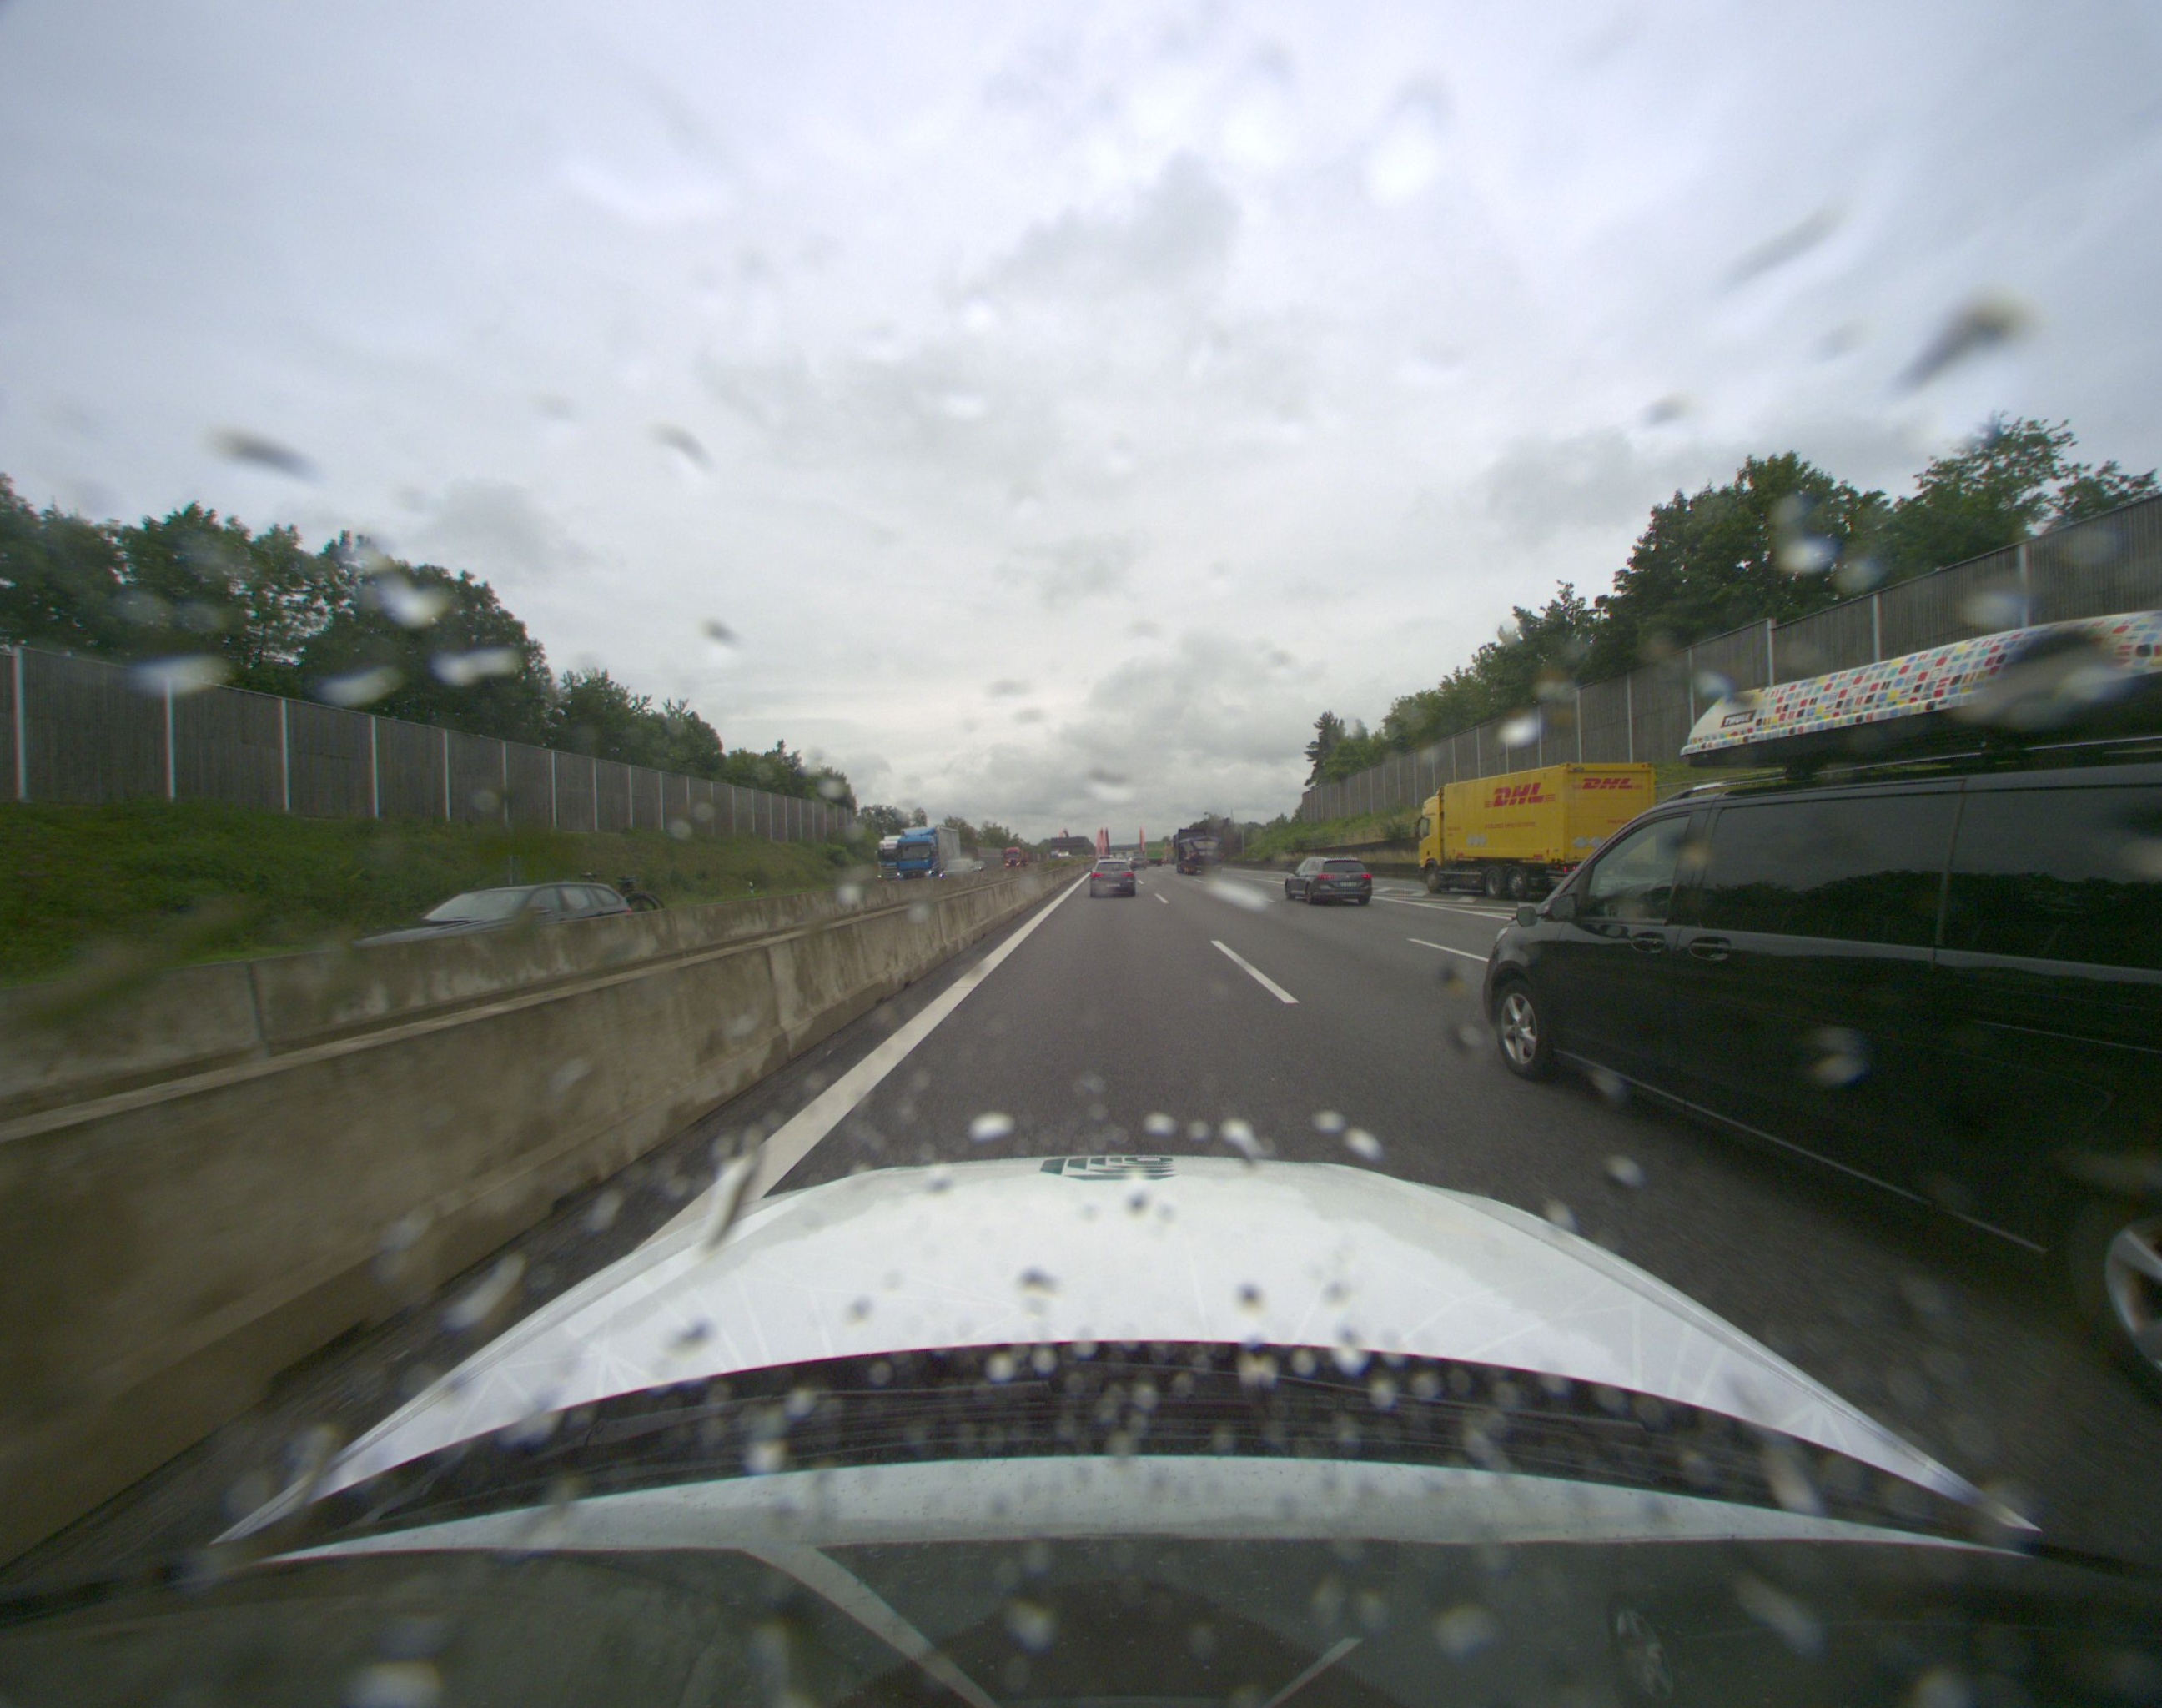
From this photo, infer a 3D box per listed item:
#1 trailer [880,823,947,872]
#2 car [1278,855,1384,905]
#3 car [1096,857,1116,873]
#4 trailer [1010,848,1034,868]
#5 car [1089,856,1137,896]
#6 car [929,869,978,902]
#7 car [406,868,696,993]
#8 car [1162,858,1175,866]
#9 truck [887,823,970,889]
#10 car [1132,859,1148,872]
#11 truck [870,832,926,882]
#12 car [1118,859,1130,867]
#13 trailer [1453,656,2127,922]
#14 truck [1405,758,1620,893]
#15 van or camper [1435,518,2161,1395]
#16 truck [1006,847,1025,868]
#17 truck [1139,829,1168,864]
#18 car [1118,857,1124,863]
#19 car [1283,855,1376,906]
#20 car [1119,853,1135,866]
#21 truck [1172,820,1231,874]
[{"bbox_3d":[-14.596,-0.512,72.366,2.893,3.935,12.448,-2,0,2],"label":"trailer"},{"bbox_3d":[7.820,0.763,26.052,1.932,1.427,5.291,0,0,2],"label":"car"},{"bbox_3d":[2.545,1.095,84.261,1.986,1.585,4.001,-2,0,2],"label":"car"},{"bbox_3d":[-11.276,0.807,156.882,2.715,3.683,12.574,-2,0,4],"label":"trailer"},{"bbox_3d":[1.202,0.820,31.786,1.757,1.453,4.000,-1,0,1],"label":"car"},{"bbox_3d":[-7.605,1.838,49.186,1.986,1.736,5.004,-2,0,2],"label":"car"},{"bbox_3d":[-8.719,1.143,13.988,1.965,1.689,4.359,-2,0,2],"label":"car"},{"bbox_3d":[15.327,1.404,142.761,1.986,1.354,4.001,-2,0,2],"label":"car"},{"bbox_3d":[-10.824,0.188,59.483,3.139,4.325,12.686,0,-1,2],"label":"truck"},{"bbox_3d":[6.716,1.275,92.950,1.775,1.406,3.628,-1,0,2],"label":"car"},{"bbox_3d":[-14.799,0.240,66.264,2.878,3.796,5.892,-2,0,2],"label":"truck"},{"bbox_3d":[7.529,1.547,144.429,1.986,1.354,4.001,-2,0,1],"label":"car"},{"bbox_3d":[14.356,-0.893,20.469,2.641,3.953,16.687,0,-1,1],"label":"trailer"},{"bbox_3d":[14.456,-0.792,28.446,2.676,3.958,9.327,0,-1,1],"label":"truck"},{"bbox_3d":[3.798,0.283,3.903,1.883,2.270,5.681,0,-1,2],"label":"van or camper"},{"bbox_3d":[-11.879,0.713,148.031,2.685,3.707,6.486,0,-1,3],"label":"truck"},{"bbox_3d":[11.475,-1.100,129.792,3.981,5.266,11.228,-2,0,3],"label":"truck"},{"bbox_3d":[12.051,1.773,245.714,1.985,1.815,4.003,-1,0,3],"label":"car"},{"bbox_3d":[7.702,0.789,25.642,1.657,1.456,4.471,0,-1,1],"label":"car"},{"bbox_3d":[6.395,0.774,113.441,1.986,1.662,4.002,-1,0,2],"label":"car"},{"bbox_3d":[9.728,-0.475,67.533,3.079,3.950,12.946,-2,-1,1],"label":"truck"}]
